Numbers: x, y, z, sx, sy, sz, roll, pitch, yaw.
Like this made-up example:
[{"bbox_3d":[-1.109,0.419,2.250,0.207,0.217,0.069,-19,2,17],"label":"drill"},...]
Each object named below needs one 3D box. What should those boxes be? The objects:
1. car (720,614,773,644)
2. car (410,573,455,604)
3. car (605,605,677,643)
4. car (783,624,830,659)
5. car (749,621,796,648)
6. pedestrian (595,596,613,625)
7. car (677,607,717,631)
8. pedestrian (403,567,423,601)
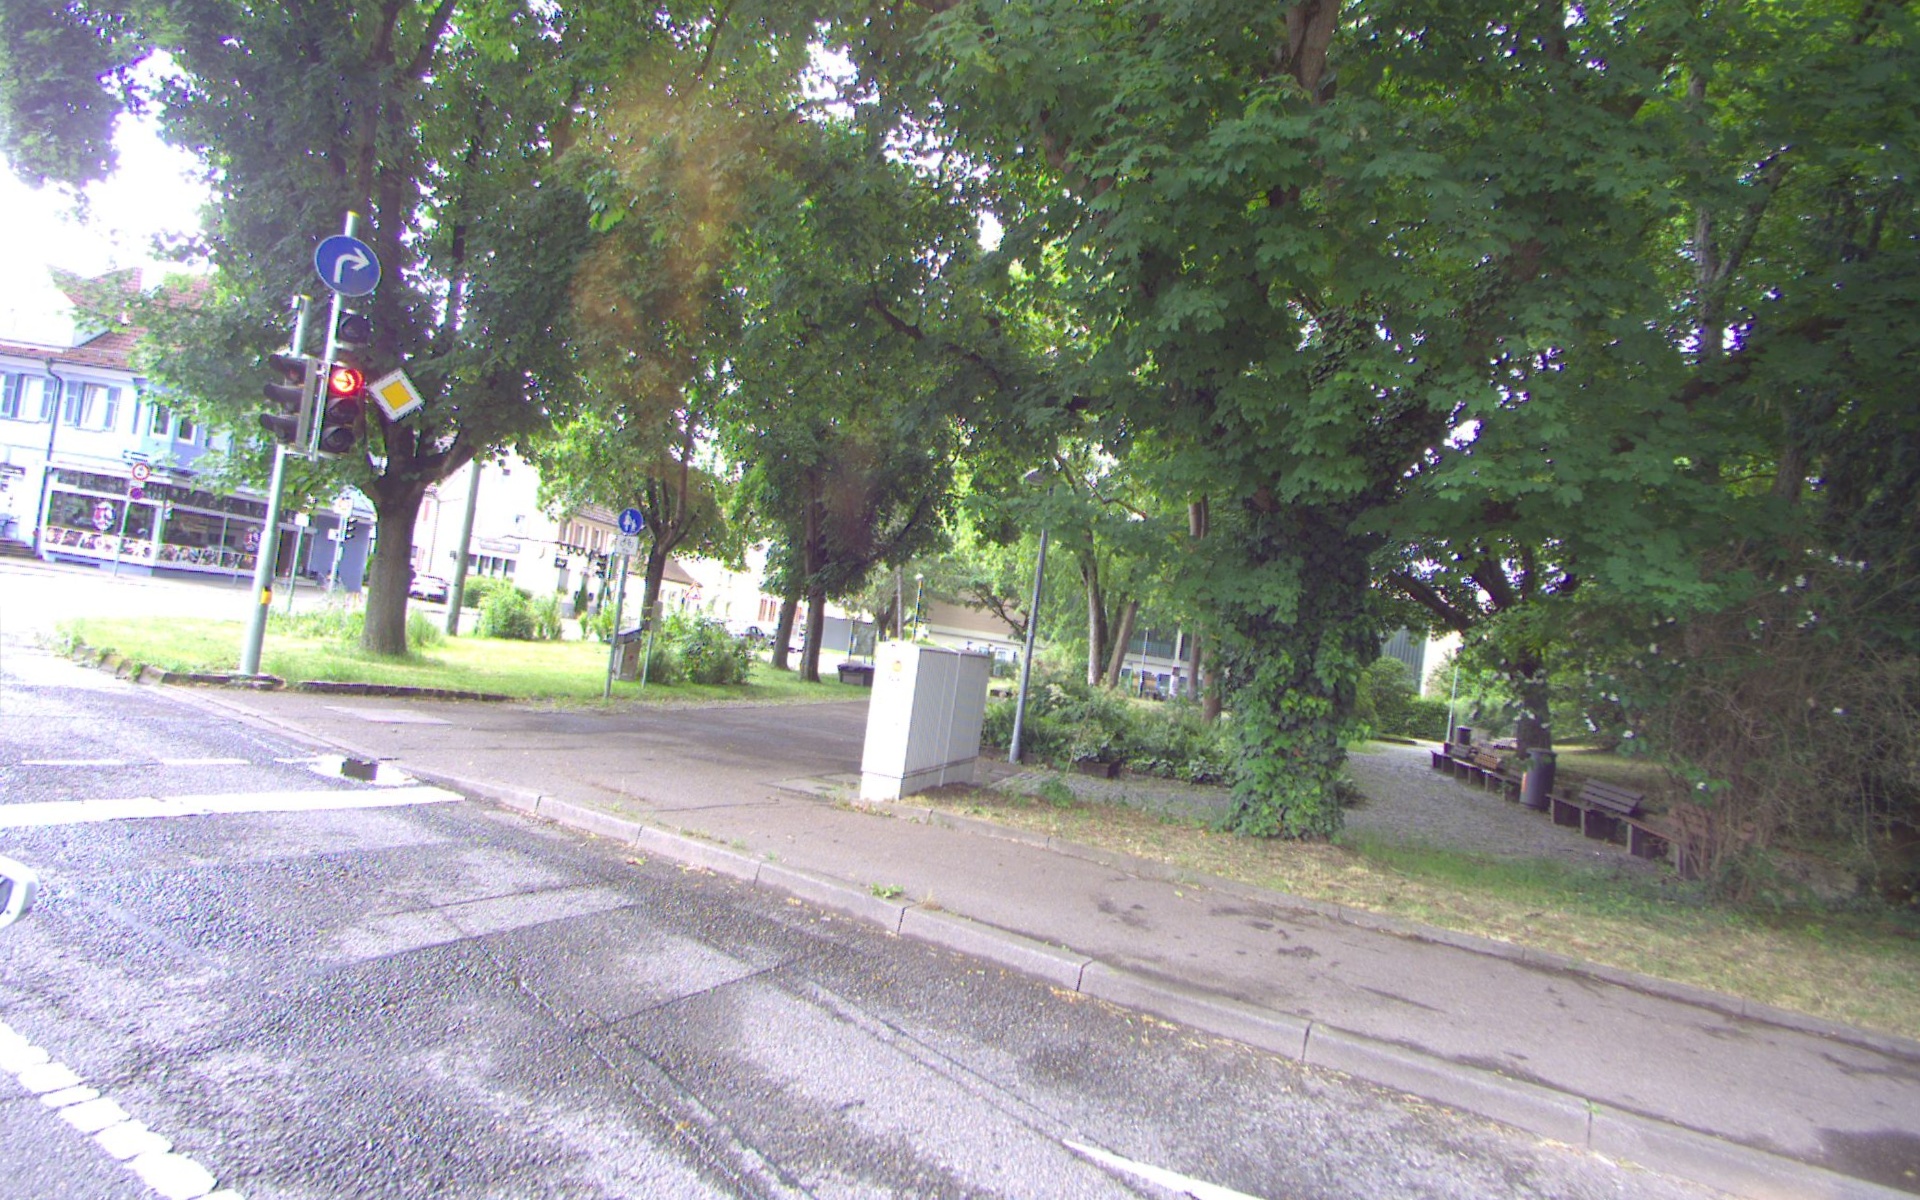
[{"bbox_3d":[-11.570,1.594,54.821,1.530,1.336,3.514,7,-2,9],"label":"car"},{"bbox_3d":[-27.846,-0.603,53.154,1.479,1.384,3.166,8,-2,-19],"label":"car"},{"bbox_3d":[-14.012,1.088,44.357,1.530,1.336,3.514,7,-2,9],"label":"car"},{"bbox_3d":[-10.057,2.756,66.174,1.750,2.037,4.005,7,-2,7],"label":"car"},{"bbox_3d":[-11.169,2.068,60.106,1.530,1.336,3.514,7,-2,8],"label":"car"},{"bbox_3d":[-21.494,0.626,60.759,0.600,1.668,0.610,7,-1,3],"label":"pedestrian"},{"bbox_3d":[-19.372,1.438,74.249,1.528,1.436,4.005,7,-2,4],"label":"car"},{"bbox_3d":[-26.258,-0.774,48.307,0.577,1.535,0.459,7,-1,-8],"label":"pedestrian"}]
